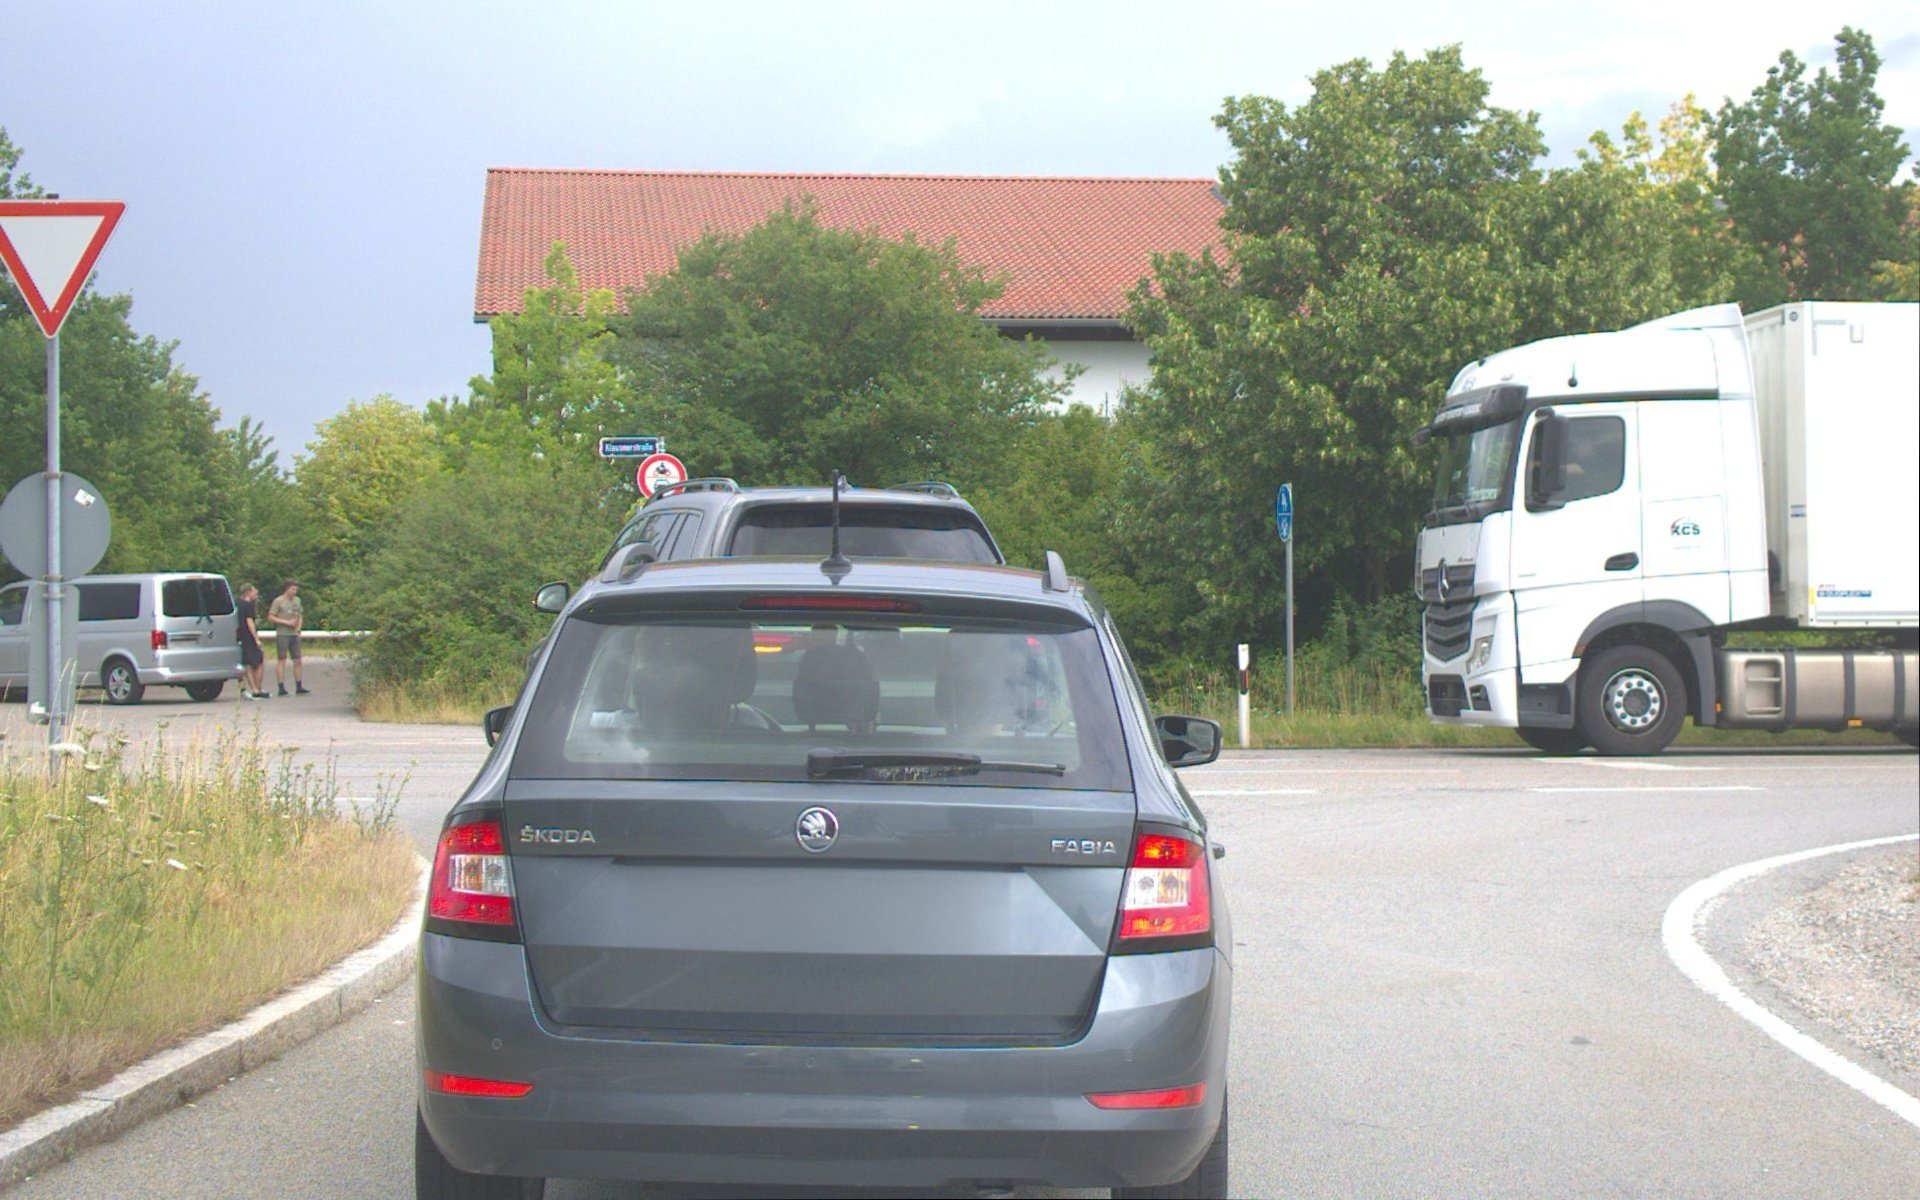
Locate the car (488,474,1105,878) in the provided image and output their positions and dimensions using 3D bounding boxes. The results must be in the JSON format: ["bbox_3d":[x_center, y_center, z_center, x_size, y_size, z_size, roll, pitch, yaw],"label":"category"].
[{"bbox_3d":[-1.004,0.338,17.554,1.993,1.768,4.645,0,0,-18],"label":"car"}]

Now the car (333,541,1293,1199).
[{"bbox_3d":[-0.348,0.616,7.926,1.676,1.457,3.708,1,1,-3],"label":"car"}]

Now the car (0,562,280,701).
[{"bbox_3d":[-13.147,0.441,53.133,4.907,2.007,2.338,0,2,33],"label":"car"}]

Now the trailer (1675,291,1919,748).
[{"bbox_3d":[13.972,-0.691,32.448,13.838,4.001,3.129,0,-1,-7],"label":"trailer"}]

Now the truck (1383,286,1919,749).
[{"bbox_3d":[7.849,-0.699,31.688,7.282,4.001,3.129,0,-1,-7],"label":"truck"}]

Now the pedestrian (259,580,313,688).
[{"bbox_3d":[-10.645,0.532,54.311,0.565,1.677,0.584,0,2,33],"label":"pedestrian"}]

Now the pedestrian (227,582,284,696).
[{"bbox_3d":[-10.820,0.594,52.820,0.529,1.720,0.640,0,2,32],"label":"pedestrian"}]
